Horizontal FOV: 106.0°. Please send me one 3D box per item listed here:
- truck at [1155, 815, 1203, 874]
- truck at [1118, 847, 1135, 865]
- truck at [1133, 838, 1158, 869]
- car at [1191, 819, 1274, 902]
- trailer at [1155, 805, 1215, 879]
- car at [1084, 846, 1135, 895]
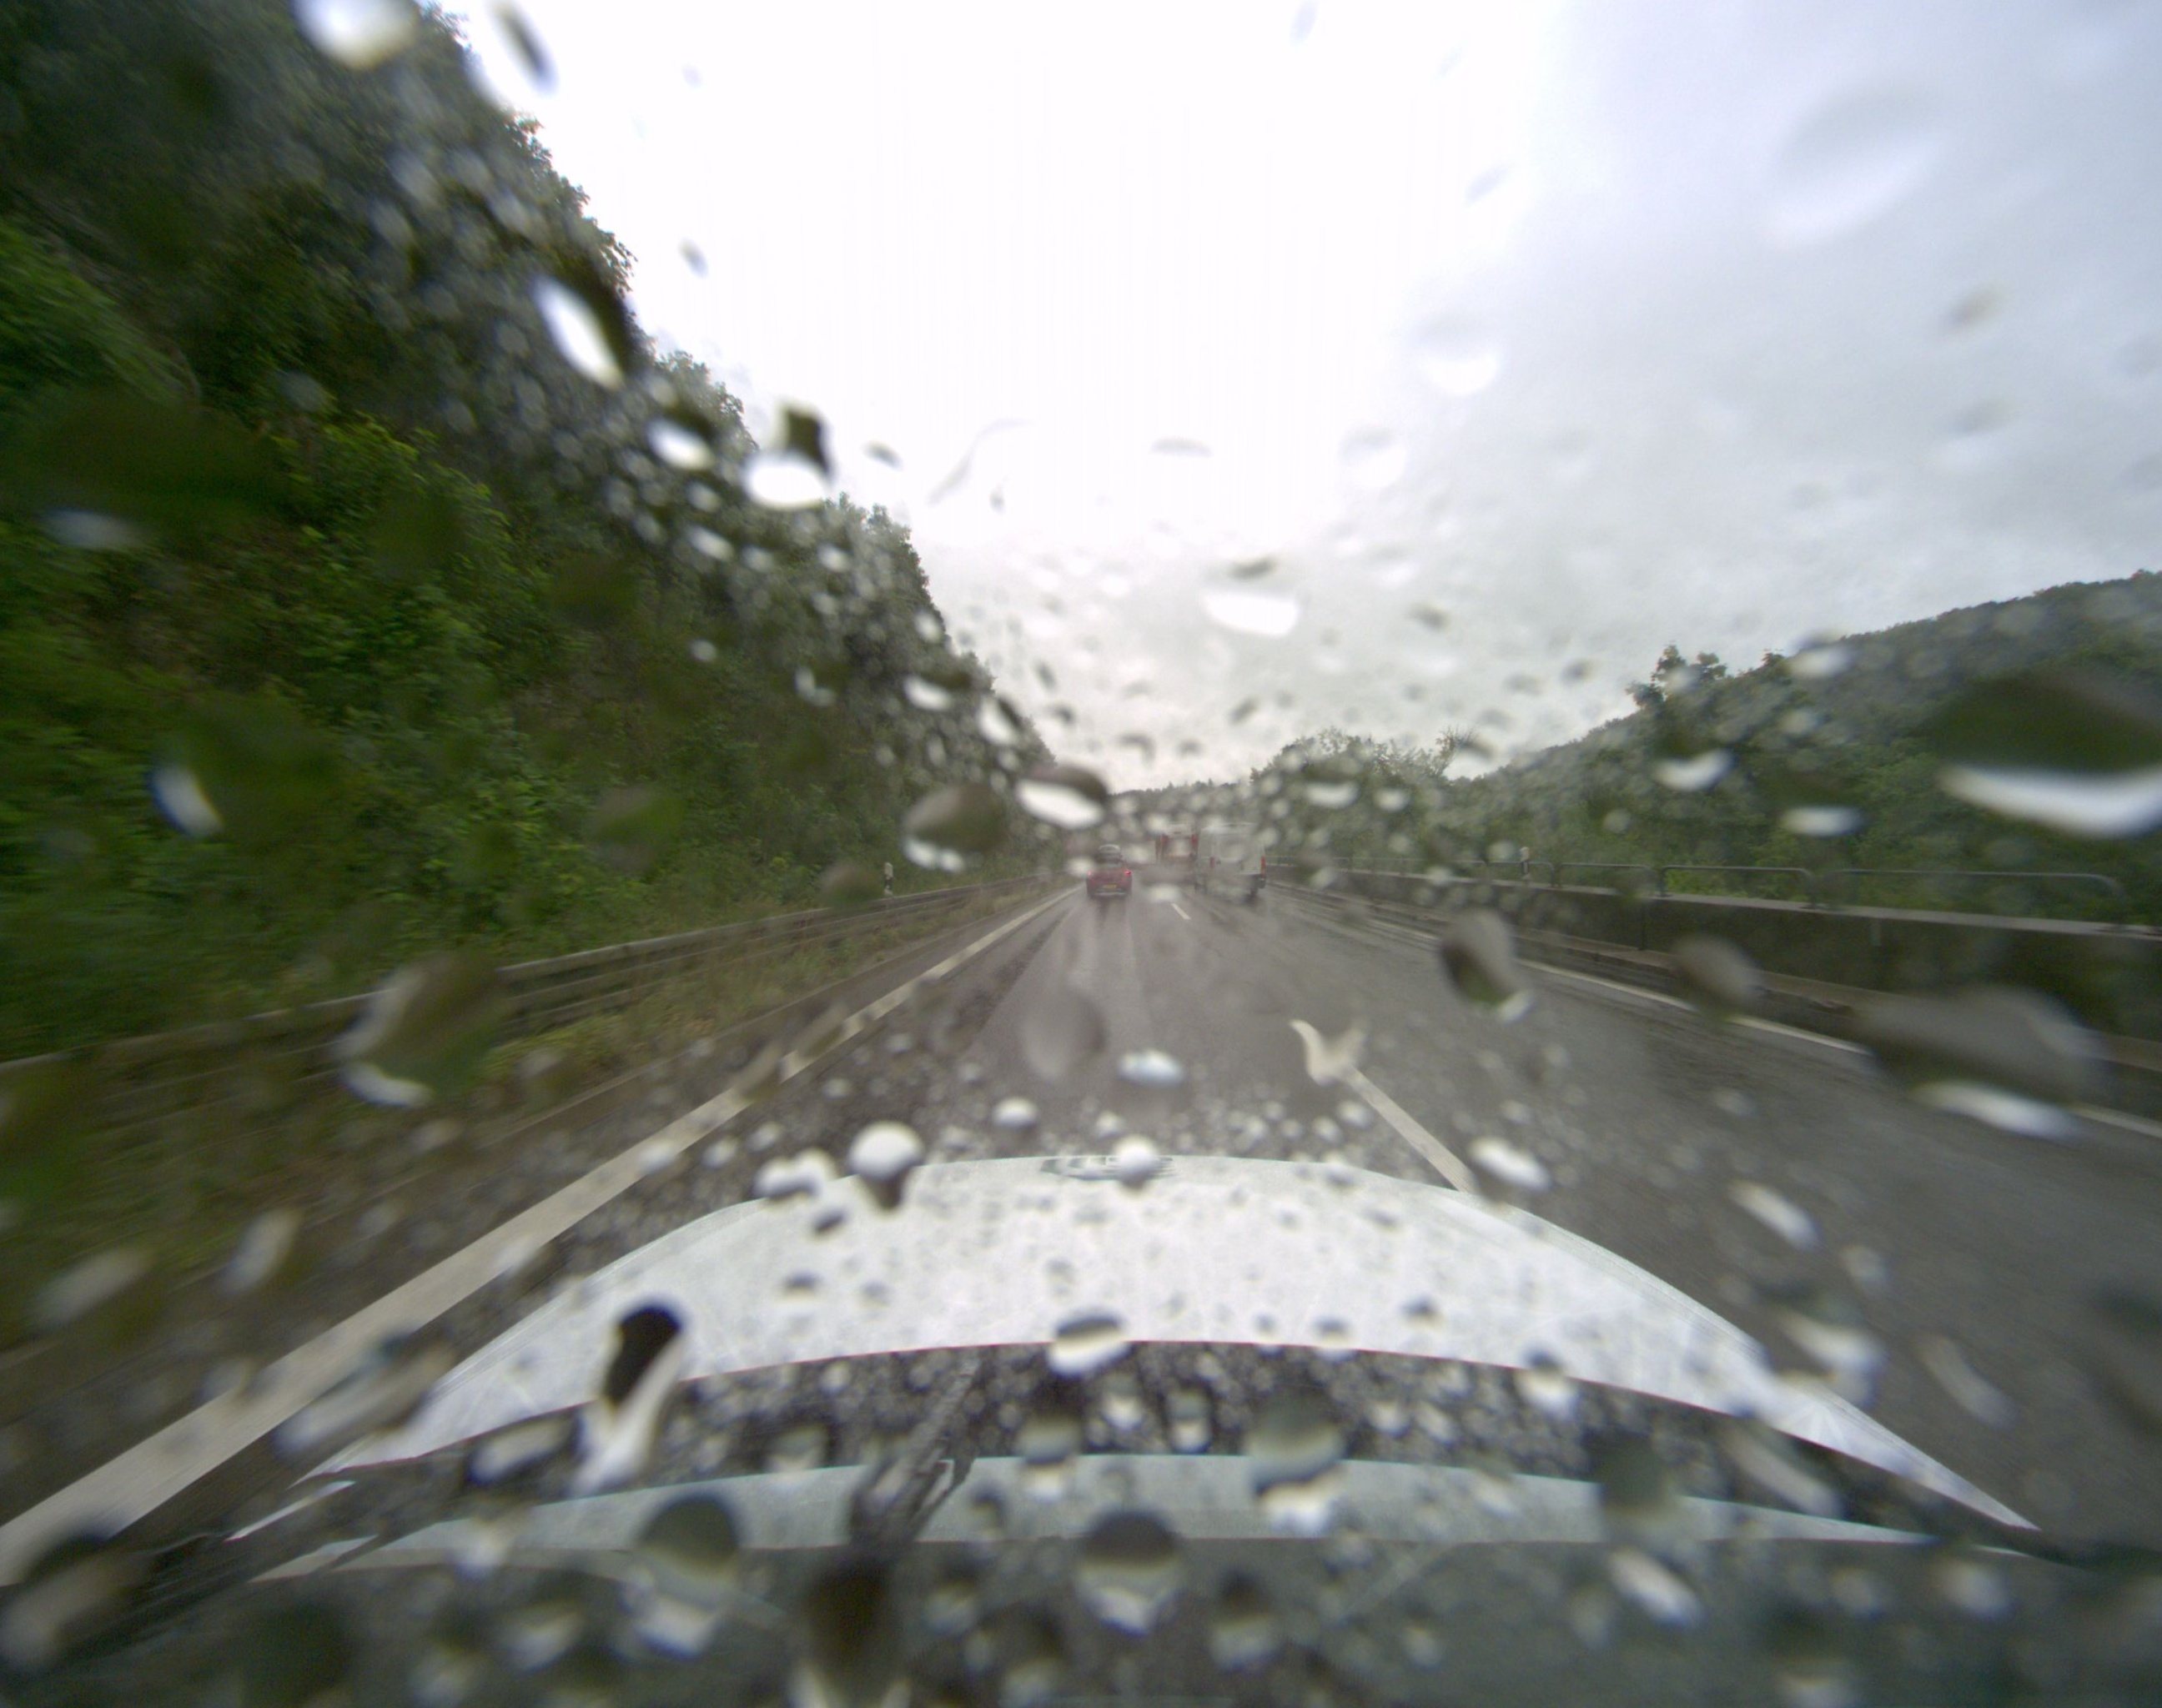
[{"bbox_3d":[7.033,-0.668,58.973,3.204,3.978,5.447,-2,0,5],"label":"truck"},{"bbox_3d":[8.572,0.317,154.172,3.050,3.312,8.074,-1,0,2],"label":"truck"},{"bbox_3d":[9.201,0.002,116.445,2.678,4.094,9.316,-4,-1,1],"label":"truck"},{"bbox_3d":[5.674,0.239,31.546,2.197,2.794,7.388,-1,0,3],"label":"car"},{"bbox_3d":[6.439,-0.670,52.326,3.203,3.999,13.543,-2,0,5],"label":"trailer"},{"bbox_3d":[1.151,0.627,31.952,1.751,1.684,4.003,-4,-1,3],"label":"car"}]
